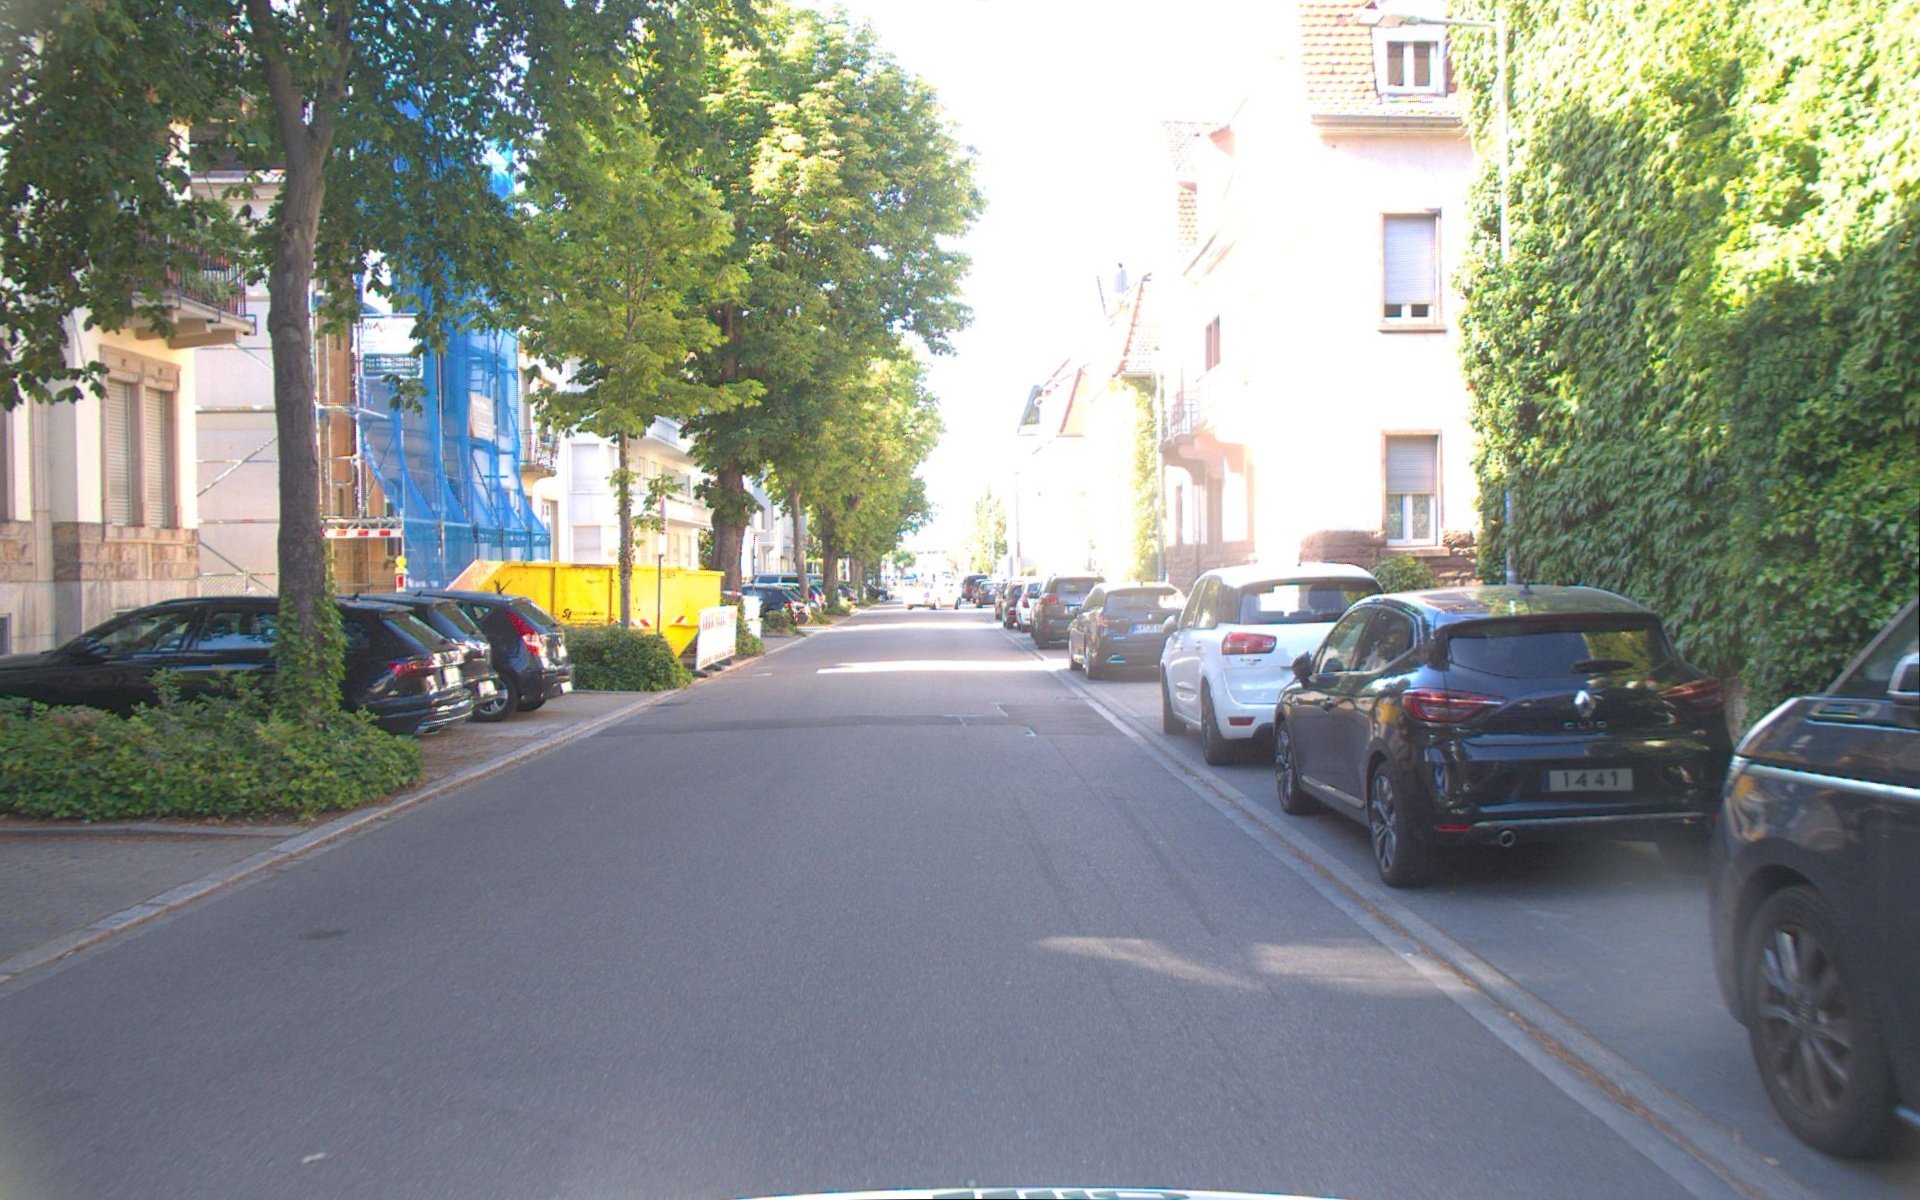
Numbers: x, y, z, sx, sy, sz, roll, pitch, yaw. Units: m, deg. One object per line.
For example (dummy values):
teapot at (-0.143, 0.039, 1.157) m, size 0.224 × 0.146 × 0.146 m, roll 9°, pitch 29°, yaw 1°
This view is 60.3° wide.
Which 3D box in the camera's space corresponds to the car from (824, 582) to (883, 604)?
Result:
car at (-7.630, -0.492, 118.682) m, size 4.102 × 1.473 × 1.712 m, roll 1°, pitch 0°, yaw 1°

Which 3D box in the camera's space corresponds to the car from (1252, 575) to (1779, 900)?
car at (2.908, 0.603, 9.587) m, size 1.604 × 1.446 × 4.007 m, roll -1°, pitch 1°, yaw -1°

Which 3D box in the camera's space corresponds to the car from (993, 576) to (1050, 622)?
car at (2.212, -0.019, 60.588) m, size 1.755 × 1.547 × 4.365 m, roll -2°, pitch 0°, yaw -1°

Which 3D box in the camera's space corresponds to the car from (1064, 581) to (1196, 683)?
car at (2.646, 0.440, 26.566) m, size 1.610 × 1.479 × 4.502 m, roll 0°, pitch 1°, yaw -1°

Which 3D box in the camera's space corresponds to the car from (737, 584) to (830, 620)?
car at (-7.569, 0.078, 71.239) m, size 3.844 × 1.439 × 1.715 m, roll 1°, pitch 1°, yaw -3°

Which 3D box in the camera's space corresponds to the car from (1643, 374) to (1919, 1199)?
car at (3.150, 0.447, 2.853) m, size 1.815 × 1.942 × 4.850 m, roll -1°, pitch 1°, yaw -2°

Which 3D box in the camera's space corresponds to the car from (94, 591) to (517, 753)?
car at (-6.663, 0.701, 17.118) m, size 3.671 × 1.456 × 1.646 m, roll -2°, pitch 1°, yaw -1°

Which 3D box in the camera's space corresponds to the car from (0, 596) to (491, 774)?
car at (-6.354, 0.695, 14.403) m, size 4.055 × 1.425 × 1.710 m, roll 0°, pitch 1°, yaw -1°

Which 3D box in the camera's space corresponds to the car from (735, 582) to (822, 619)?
car at (-7.536, 0.016, 68.810) m, size 3.407 × 1.483 × 1.797 m, roll 1°, pitch 0°, yaw 0°

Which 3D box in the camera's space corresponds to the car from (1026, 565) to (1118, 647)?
car at (2.488, 0.140, 37.596) m, size 1.741 × 1.726 × 4.319 m, roll 1°, pitch 0°, yaw -1°

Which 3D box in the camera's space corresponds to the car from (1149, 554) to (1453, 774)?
car at (2.917, 0.475, 15.056) m, size 1.829 × 1.673 × 4.199 m, roll -2°, pitch 1°, yaw -1°

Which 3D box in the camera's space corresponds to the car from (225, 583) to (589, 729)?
car at (-6.431, 0.625, 19.516) m, size 3.650 × 1.490 × 1.715 m, roll -2°, pitch 1°, yaw 0°

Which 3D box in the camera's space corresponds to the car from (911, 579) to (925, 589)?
car at (-6.476, -2.476, 253.379) m, size 1.753 × 1.559 × 3.994 m, roll -1°, pitch 1°, yaw -7°

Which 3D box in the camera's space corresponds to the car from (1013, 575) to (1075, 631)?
car at (2.486, 0.096, 49.507) m, size 1.543 × 1.576 × 3.467 m, roll -2°, pitch 0°, yaw -1°

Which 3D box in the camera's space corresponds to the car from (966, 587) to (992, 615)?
car at (1.371, 0.041, 121.101) m, size 1.833 × 1.938 × 5.197 m, roll -2°, pitch 0°, yaw 0°

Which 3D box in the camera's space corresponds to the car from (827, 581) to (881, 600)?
car at (-8.607, -0.755, 134.388) m, size 4.384 × 1.505 × 1.867 m, roll 0°, pitch 0°, yaw -3°

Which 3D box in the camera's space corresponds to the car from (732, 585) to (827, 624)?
car at (-7.229, 0.168, 66.435) m, size 3.569 × 1.488 × 1.710 m, roll 1°, pitch 0°, yaw 1°

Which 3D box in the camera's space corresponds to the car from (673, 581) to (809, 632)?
car at (-7.465, 0.216, 56.375) m, size 4.505 × 1.635 × 1.829 m, roll -1°, pitch 1°, yaw -10°

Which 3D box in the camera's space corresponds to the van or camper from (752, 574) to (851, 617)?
van or camper at (-7.345, -0.222, 76.765) m, size 4.406 × 1.948 × 1.964 m, roll -1°, pitch 0°, yaw -1°

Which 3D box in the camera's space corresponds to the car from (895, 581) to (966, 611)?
car at (-1.521, -0.197, 86.574) m, size 1.698 × 1.445 × 3.944 m, roll 1°, pitch -1°, yaw 37°

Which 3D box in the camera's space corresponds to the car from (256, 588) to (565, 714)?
car at (-7.212, 0.648, 21.936) m, size 3.477 × 1.473 × 1.695 m, roll -2°, pitch 1°, yaw 0°

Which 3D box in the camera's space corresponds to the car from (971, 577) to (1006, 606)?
car at (1.564, -0.477, 91.869) m, size 1.587 × 1.464 × 3.933 m, roll -3°, pitch 1°, yaw -3°

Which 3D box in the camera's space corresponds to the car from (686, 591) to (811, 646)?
car at (-6.675, 0.570, 52.137) m, size 3.800 × 1.540 × 1.829 m, roll -2°, pitch 1°, yaw -10°

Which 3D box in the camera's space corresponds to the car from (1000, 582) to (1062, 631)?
car at (2.261, 0.212, 53.818) m, size 1.675 × 1.461 × 4.192 m, roll -3°, pitch 0°, yaw -1°
